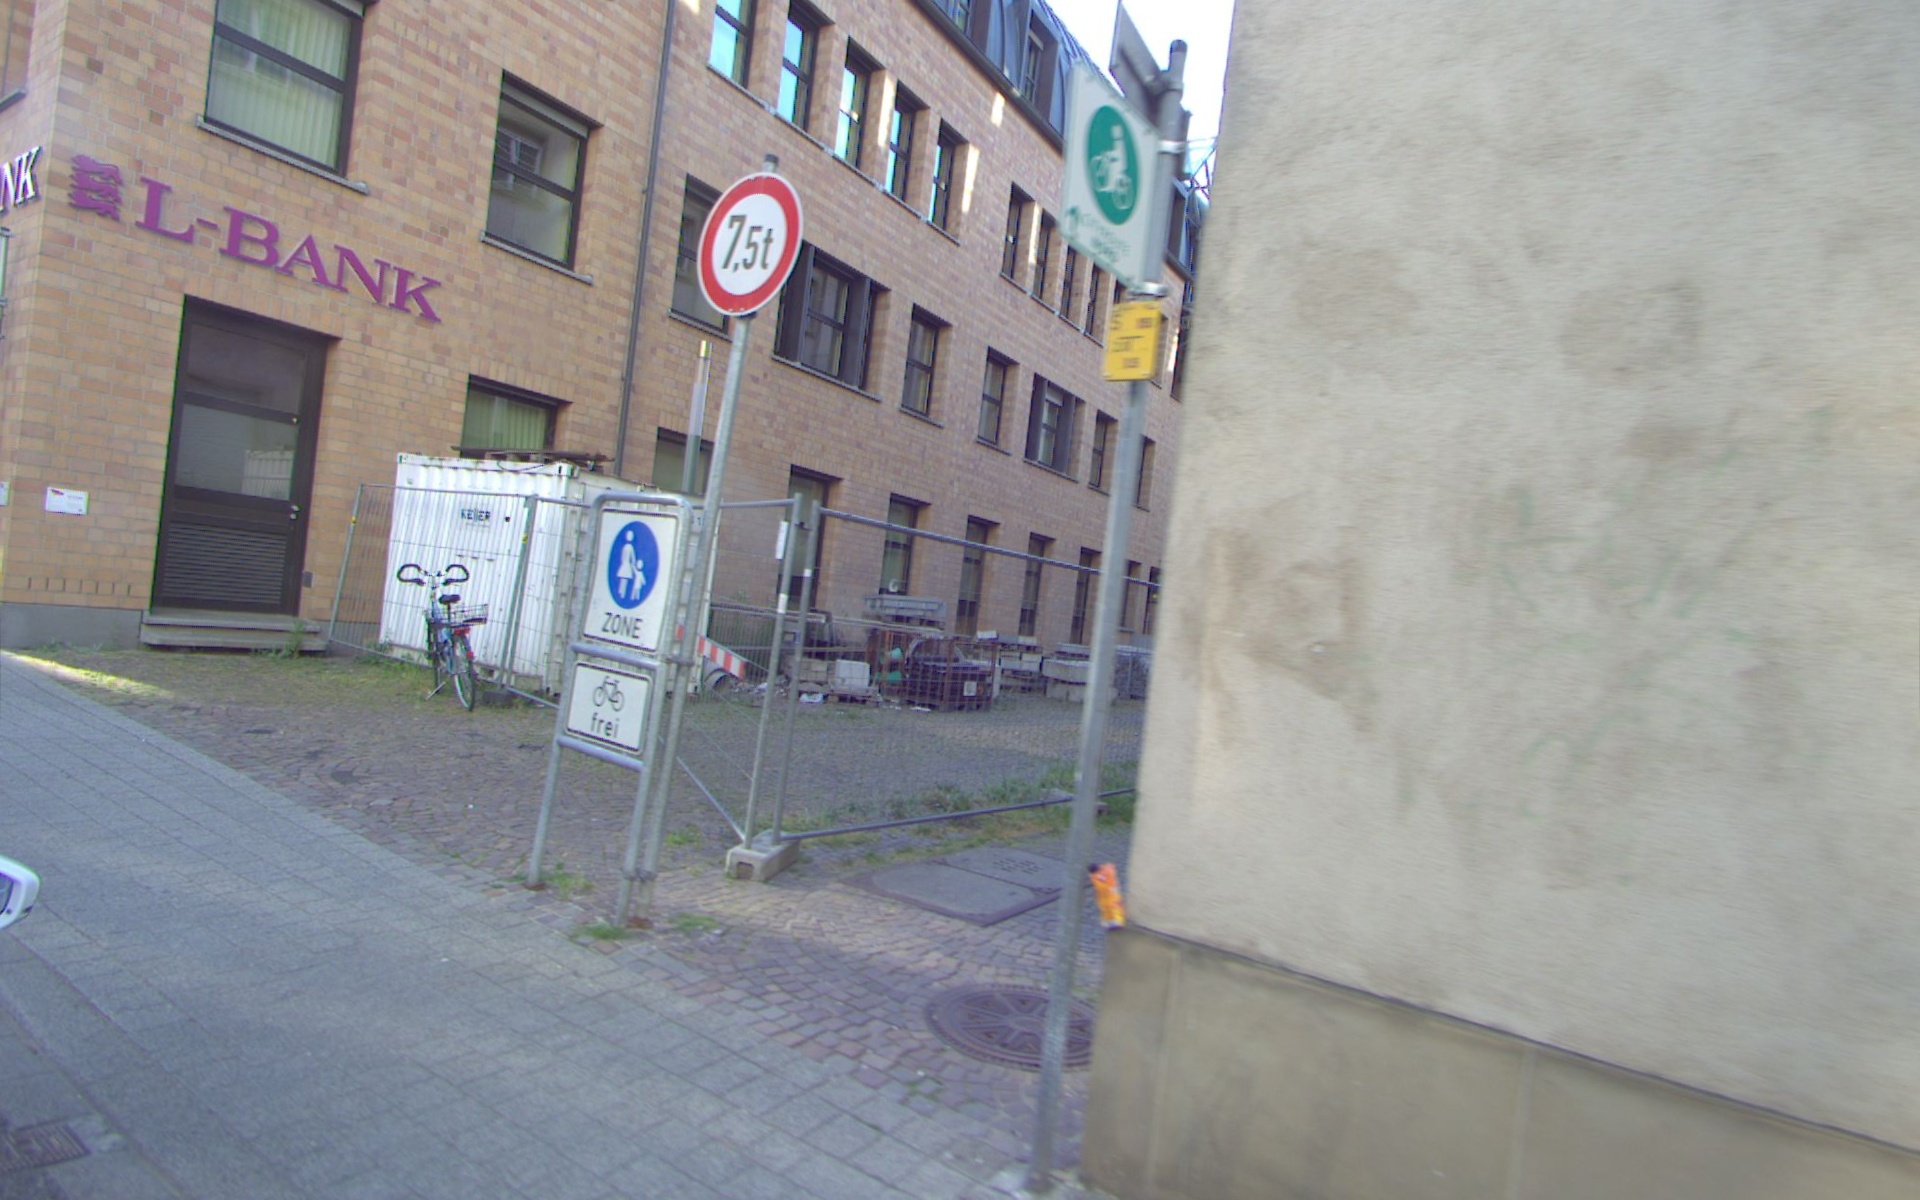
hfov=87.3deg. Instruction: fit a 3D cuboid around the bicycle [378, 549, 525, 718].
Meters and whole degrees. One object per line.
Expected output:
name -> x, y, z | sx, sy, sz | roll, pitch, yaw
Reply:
bicycle -> -4.634, 0.274, 9.108 | 1.624, 1.333, 0.549 | 7, 1, 43
